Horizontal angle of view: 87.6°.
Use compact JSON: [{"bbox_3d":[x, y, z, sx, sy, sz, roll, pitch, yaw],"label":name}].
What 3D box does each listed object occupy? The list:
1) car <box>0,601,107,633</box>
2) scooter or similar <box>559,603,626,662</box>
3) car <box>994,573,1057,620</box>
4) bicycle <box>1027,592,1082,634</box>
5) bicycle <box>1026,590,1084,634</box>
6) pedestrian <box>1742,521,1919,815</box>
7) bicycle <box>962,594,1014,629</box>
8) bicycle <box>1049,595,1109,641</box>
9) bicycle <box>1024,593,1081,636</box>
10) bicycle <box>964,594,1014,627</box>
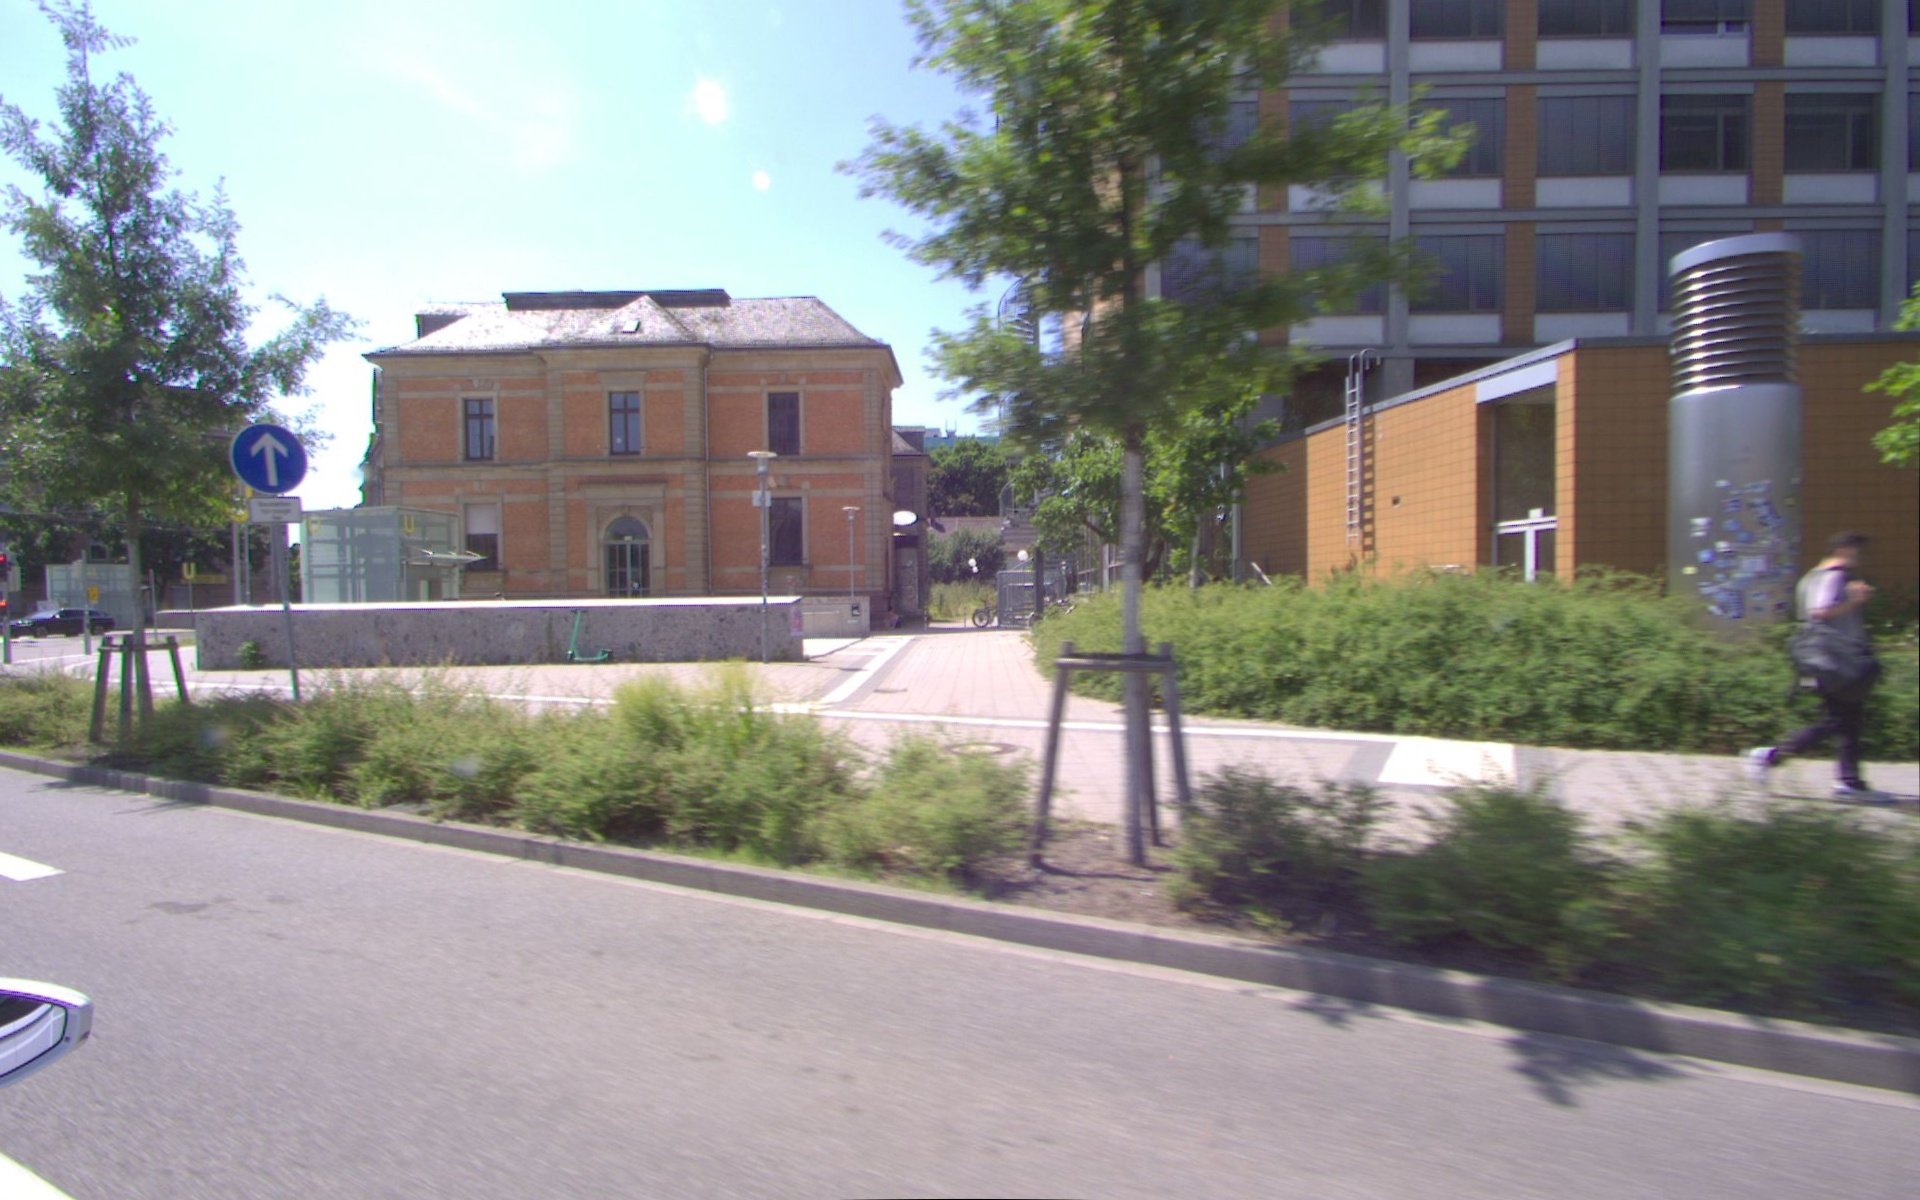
[{"bbox_3d":[-45.287,0.820,49.843,1.665,1.470,4.111,2,1,12],"label":"car"},{"bbox_3d":[-7.711,0.671,21.026,1.265,1.183,0.397,2,1,9],"label":"scooter or similar"},{"bbox_3d":[3.951,-0.231,60.426,3.658,2.680,1.166,2,1,7],"label":"car"},{"bbox_3d":[3.188,0.436,33.799,1.780,1.347,0.497,2,1,2],"label":"bicycle"},{"bbox_3d":[3.053,0.386,32.264,1.780,1.347,0.497,2,1,2],"label":"bicycle"},{"bbox_3d":[5.544,0.401,6.370,0.799,1.728,0.730,1,1,32],"label":"pedestrian"},{"bbox_3d":[1.147,0.464,40.854,2.068,1.379,0.767,2,1,4],"label":"bicycle"},{"bbox_3d":[3.672,0.554,30.969,1.780,1.347,0.497,2,1,2],"label":"bicycle"},{"bbox_3d":[3.031,0.465,32.939,1.780,1.347,0.497,2,1,2],"label":"bicycle"},{"bbox_3d":[1.219,0.420,41.988,2.037,1.320,0.767,2,1,4],"label":"bicycle"}]
